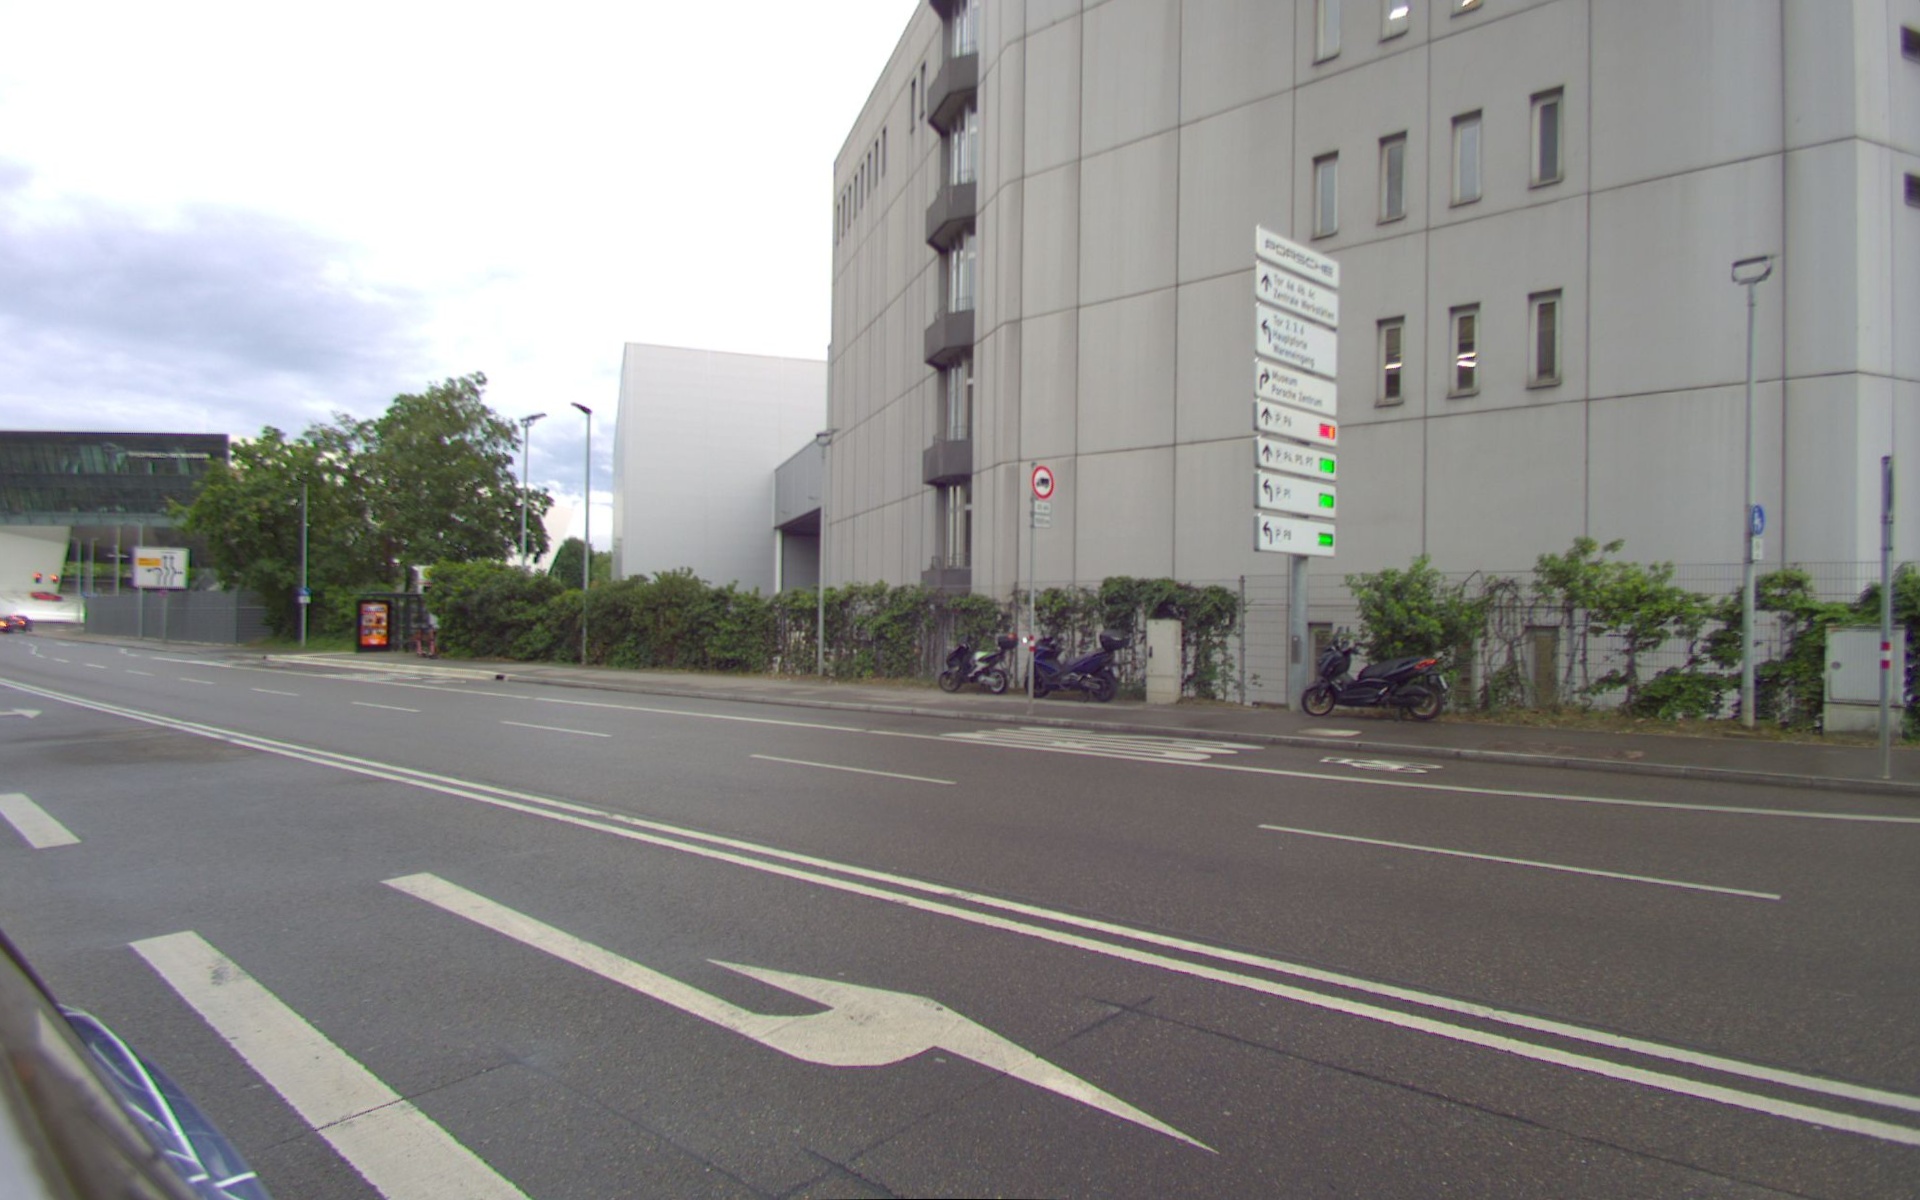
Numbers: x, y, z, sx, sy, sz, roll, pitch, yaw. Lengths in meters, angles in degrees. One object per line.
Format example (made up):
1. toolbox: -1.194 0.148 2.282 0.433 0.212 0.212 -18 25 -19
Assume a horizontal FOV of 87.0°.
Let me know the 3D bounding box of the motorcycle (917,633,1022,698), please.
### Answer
1. motorcycle: 0.174 1.315 20.820 2.156 1.260 0.777 -1 -2 40

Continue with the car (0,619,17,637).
1. car: -85.045 2.456 89.094 2.233 1.488 4.059 1 -1 -32

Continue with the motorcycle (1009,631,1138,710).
1. motorcycle: 2.082 1.267 18.822 2.368 1.358 0.776 -1 -2 40

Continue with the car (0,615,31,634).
1. car: -88.824 2.293 94.842 1.834 1.663 3.799 1 -2 -30

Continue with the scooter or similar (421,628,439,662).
1. scooter or similar: -19.376 1.642 37.012 0.373 1.190 1.380 1 -2 -36

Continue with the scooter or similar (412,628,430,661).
1. scooter or similar: -20.297 1.659 38.103 0.383 1.189 1.253 1 -2 -36

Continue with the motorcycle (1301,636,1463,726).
1. motorcycle: 6.409 1.196 15.462 2.156 1.257 0.777 -1 -2 40
